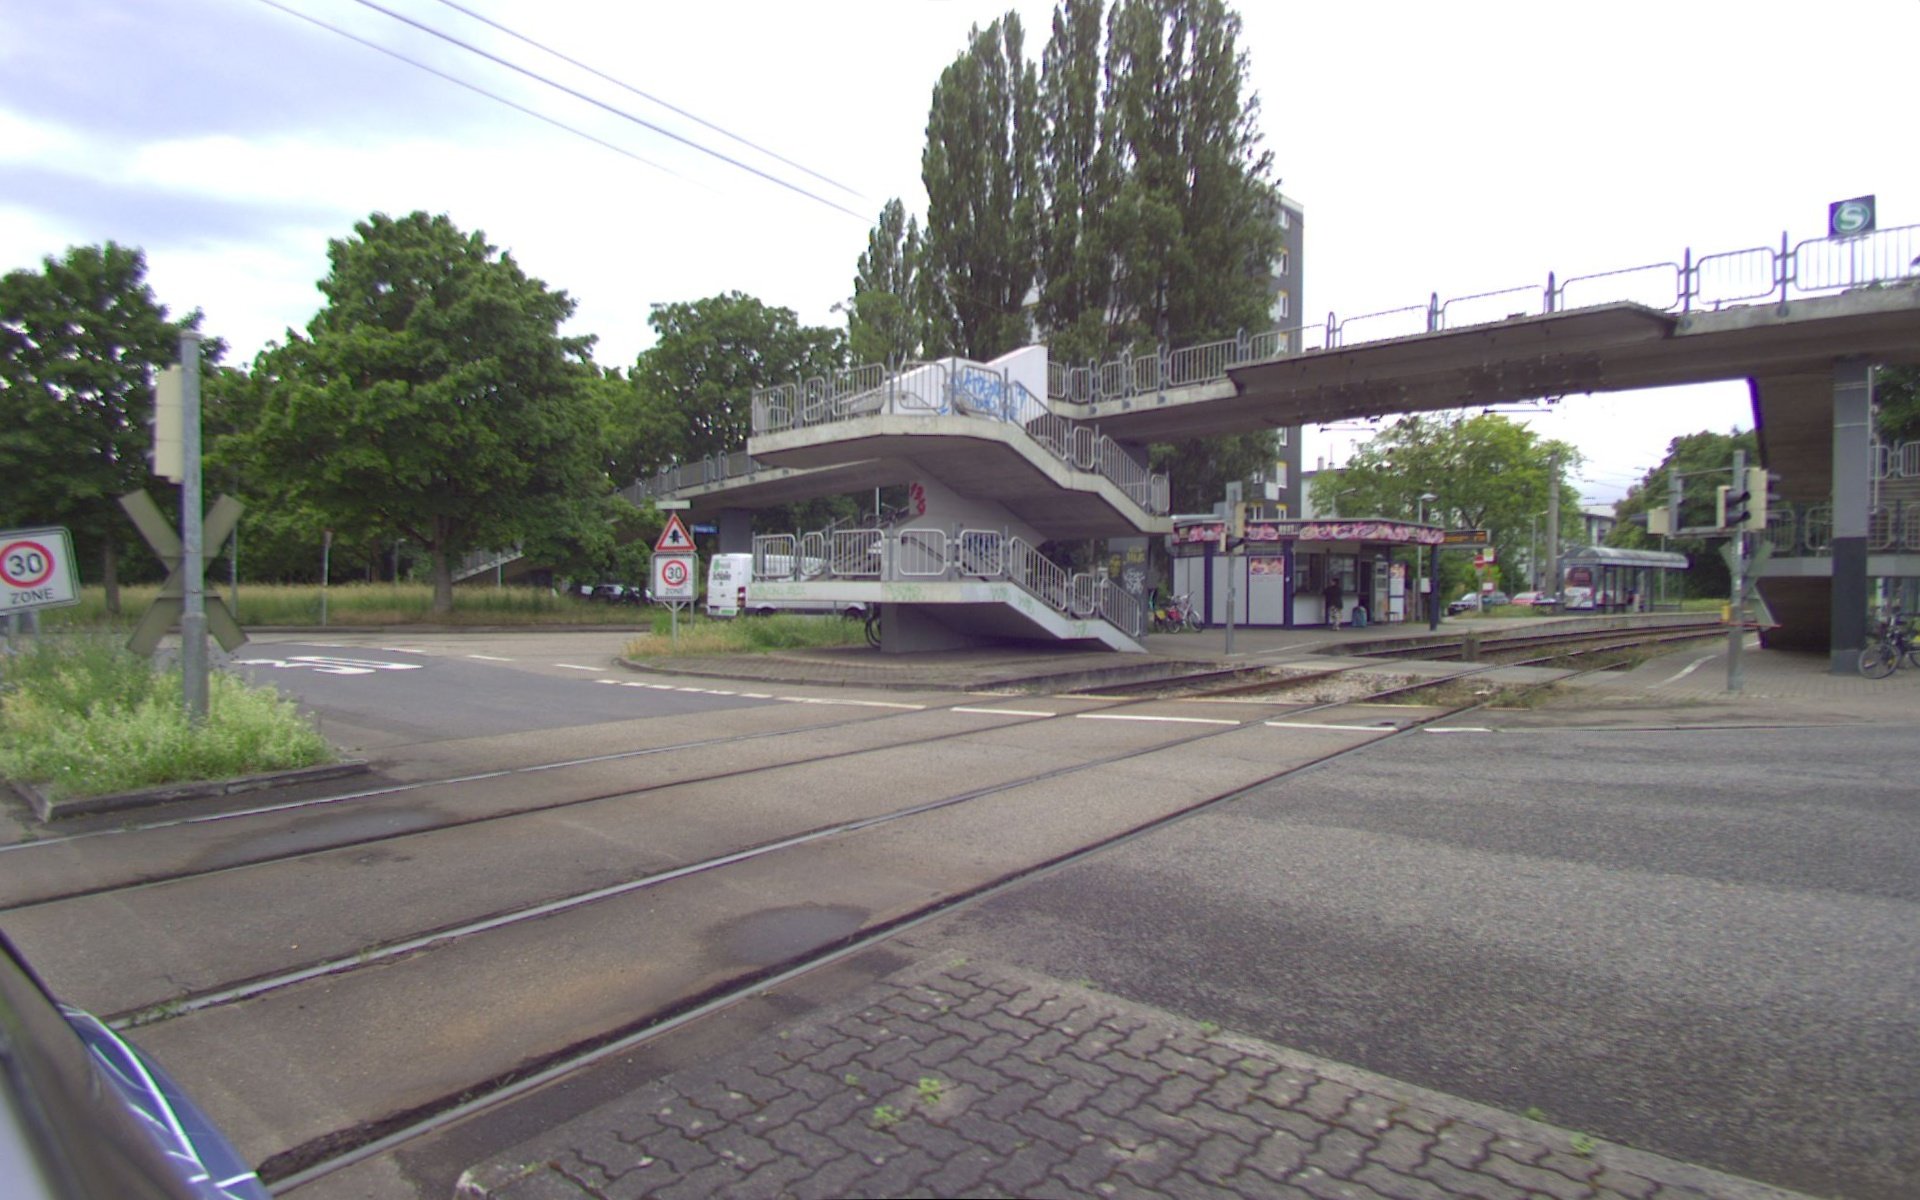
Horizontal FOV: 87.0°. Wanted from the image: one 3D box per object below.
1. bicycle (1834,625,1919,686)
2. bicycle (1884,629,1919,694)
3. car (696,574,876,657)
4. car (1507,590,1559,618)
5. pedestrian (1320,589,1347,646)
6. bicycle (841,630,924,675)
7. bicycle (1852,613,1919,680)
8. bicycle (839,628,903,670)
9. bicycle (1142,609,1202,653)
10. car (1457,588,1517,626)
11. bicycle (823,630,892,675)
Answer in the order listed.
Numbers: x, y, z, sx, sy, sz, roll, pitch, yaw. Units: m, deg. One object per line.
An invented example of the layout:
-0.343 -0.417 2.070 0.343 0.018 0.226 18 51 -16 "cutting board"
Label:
14.815 0.858 16.076 2.365 0.895 0.559 0 1 -28 "bicycle"
15.089 0.944 16.061 2.005 0.928 0.375 0 1 -40 "bicycle"
-5.230 0.407 30.977 2.142 2.309 5.131 2 2 45 "car"
35.250 0.231 62.250 3.938 1.700 1.642 0 0 -42 "car"
11.134 0.526 30.182 0.542 1.677 0.676 0 0 45 "pedestrian"
-1.620 1.096 21.332 1.713 0.892 0.396 0 0 -28 "bicycle"
16.249 0.792 17.222 1.599 1.103 0.350 1 0 13 "bicycle"
-2.026 1.118 23.306 0.394 0.892 1.619 1 1 43 "bicycle"
5.974 0.838 28.408 0.987 1.123 2.764 0 0 27 "bicycle"
29.693 0.363 57.008 3.940 2.029 1.837 0 0 -44 "car"
-2.191 1.113 21.811 0.394 0.892 1.619 1 1 43 "bicycle"
